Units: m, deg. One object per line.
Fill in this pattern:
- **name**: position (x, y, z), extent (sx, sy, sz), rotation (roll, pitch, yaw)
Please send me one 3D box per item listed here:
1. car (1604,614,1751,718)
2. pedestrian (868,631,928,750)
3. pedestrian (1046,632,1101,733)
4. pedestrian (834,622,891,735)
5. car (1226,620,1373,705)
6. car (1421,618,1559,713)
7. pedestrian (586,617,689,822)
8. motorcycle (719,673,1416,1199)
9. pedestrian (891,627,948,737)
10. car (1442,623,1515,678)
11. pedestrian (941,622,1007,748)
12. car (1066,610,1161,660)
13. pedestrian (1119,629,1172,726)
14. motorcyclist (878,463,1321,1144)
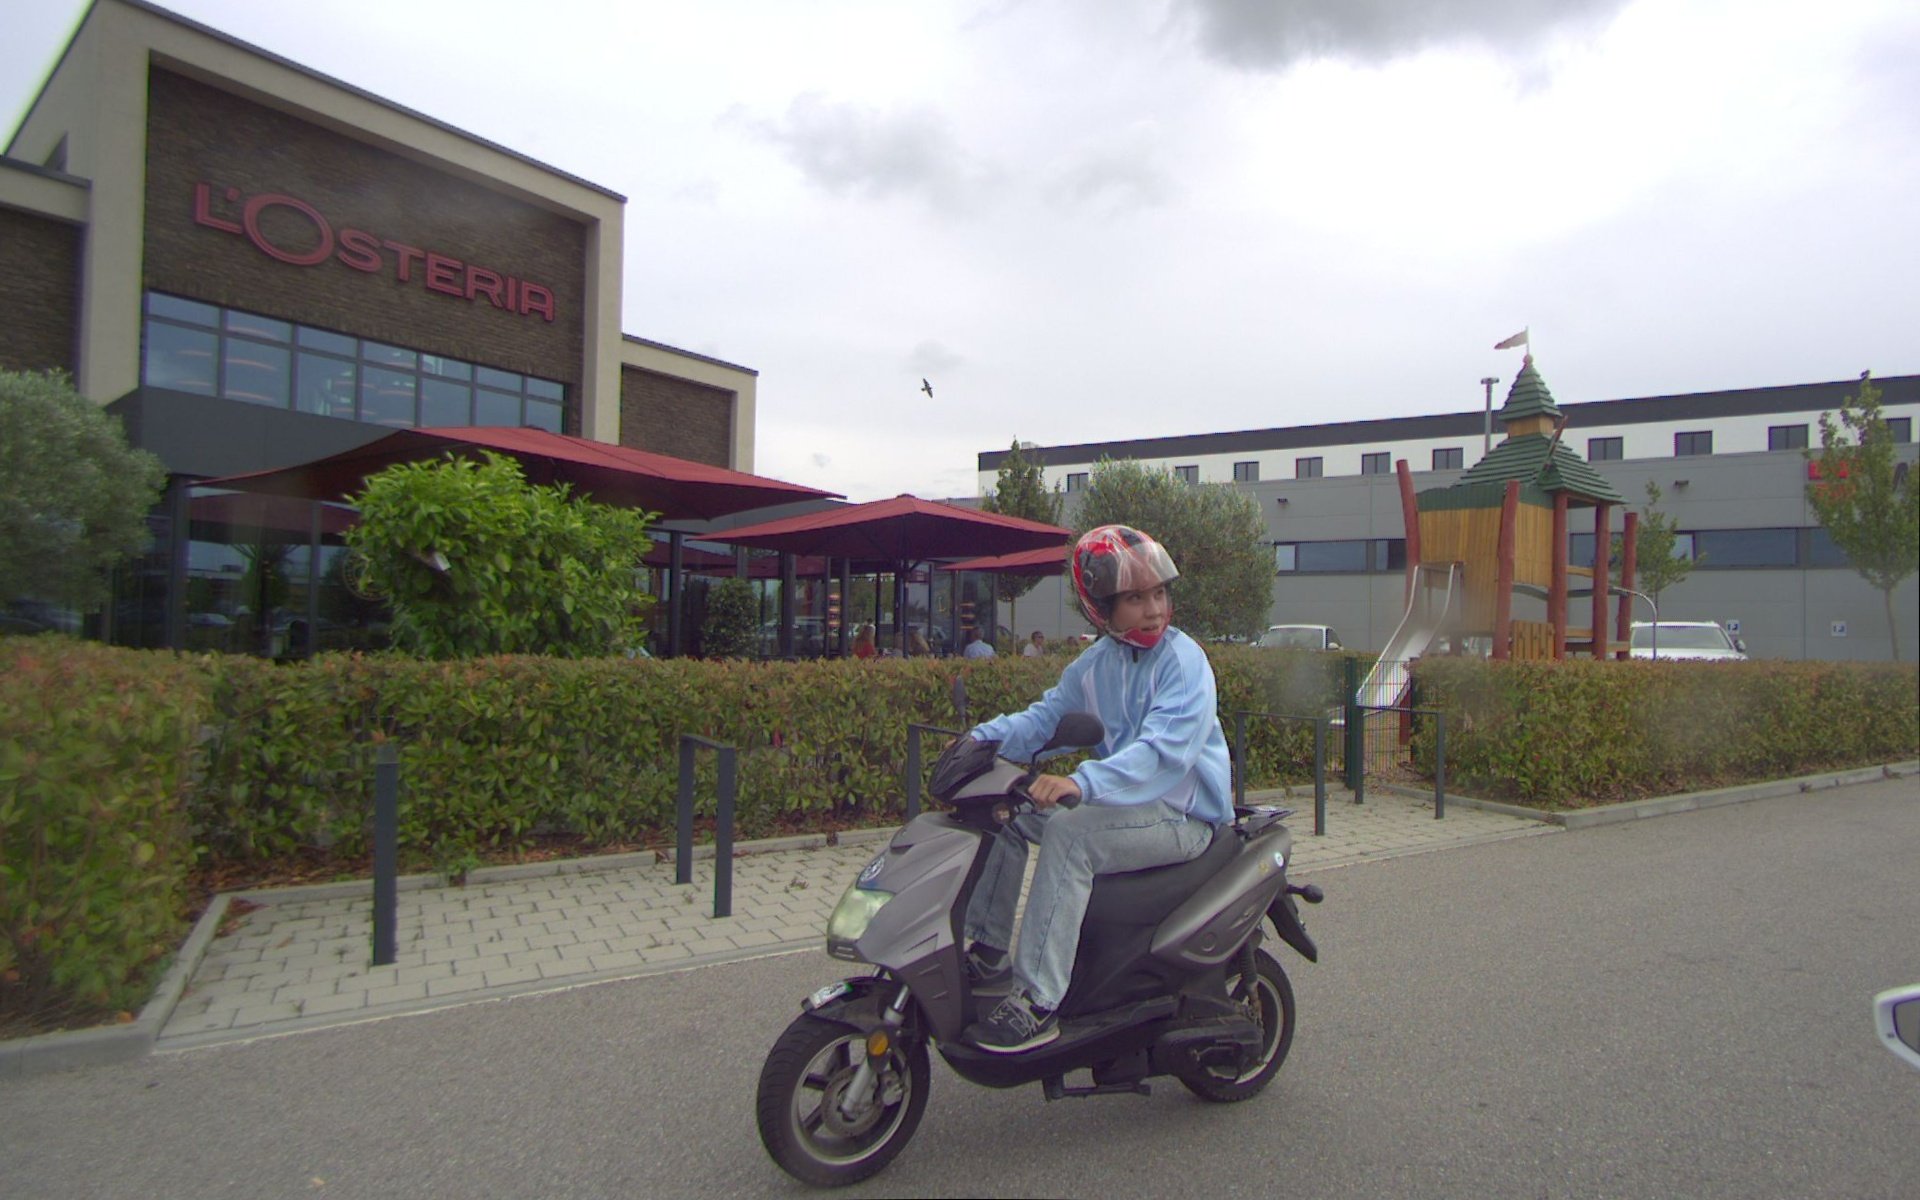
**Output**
- **car**: position (13.227, 1.196, 18.730), extent (1.966, 1.672, 4.566), rotation (-2, -3, 33)
- **pedestrian**: position (-0.958, 1.382, 15.530), extent (0.695, 1.771, 0.738), rotation (1, -3, -28)
- **pedestrian**: position (2.061, 1.481, 18.229), extent (0.731, 1.771, 0.701), rotation (-2, -3, 36)
- **pedestrian**: position (-1.574, 1.249, 16.201), extent (0.695, 1.771, 0.738), rotation (1, -3, -28)
- **car**: position (7.592, 1.355, 22.173), extent (1.966, 1.672, 4.566), rotation (-2, -3, 33)
- **car**: position (10.674, 1.277, 20.066), extent (1.966, 1.672, 4.566), rotation (-2, -3, 33)
- **pedestrian**: position (-2.955, 1.056, 9.199), extent (0.735, 1.771, 0.698), rotation (1, -3, -32)
- **motorcycle**: position (0.379, 0.842, 2.843), extent (1.901, 1.224, 0.788), rotation (2, -2, -34)
- **pedestrian**: position (-0.678, 1.340, 16.645), extent (0.695, 1.771, 0.738), rotation (1, -3, -28)
- **car**: position (16.088, 1.579, 31.065), extent (1.712, 1.572, 4.255), rotation (-2, -3, 31)
- **pedestrian**: position (0.202, 1.213, 14.571), extent (0.695, 1.771, 0.738), rotation (1, -3, -28)
- **car**: position (5.655, 1.311, 36.467), extent (1.963, 1.659, 4.800), rotation (-2, -3, 27)
- **pedestrian**: position (3.481, 1.441, 18.877), extent (0.731, 1.771, 0.701), rotation (-2, -3, 36)
- **motorcyclist**: position (0.381, 0.472, 2.845), extent (0.931, 1.508, 0.823), rotation (2, -2, -33)
